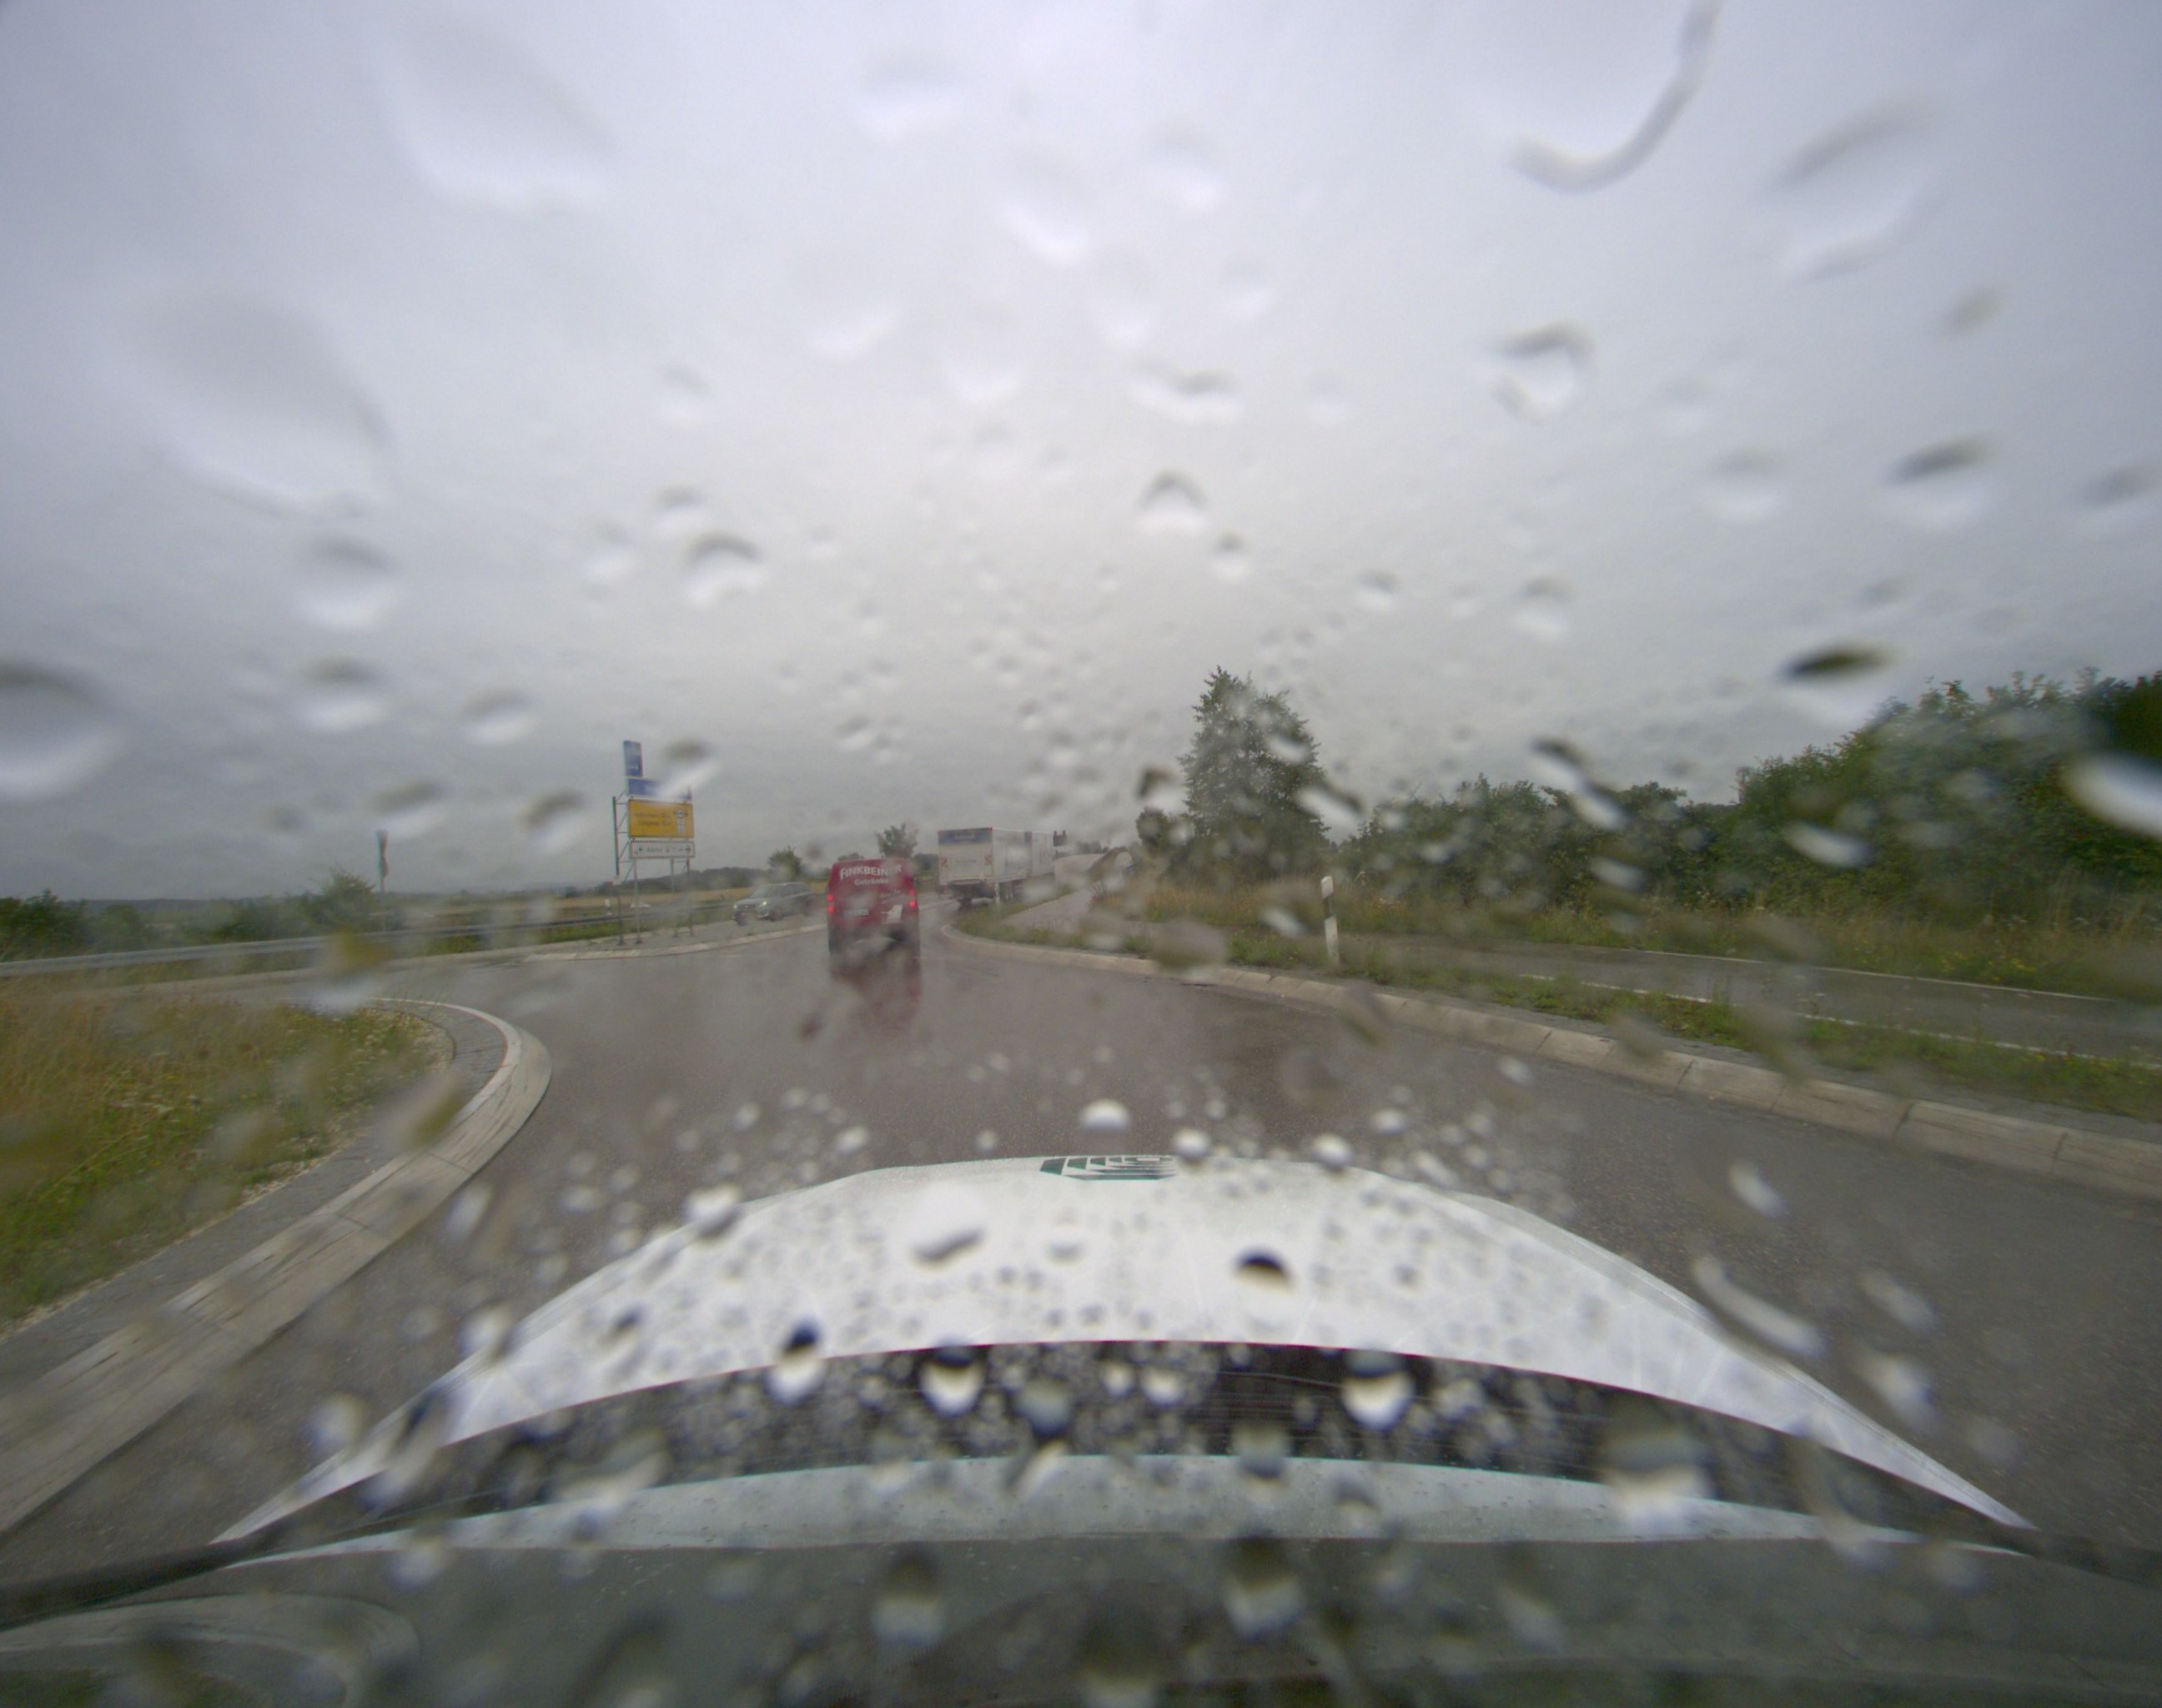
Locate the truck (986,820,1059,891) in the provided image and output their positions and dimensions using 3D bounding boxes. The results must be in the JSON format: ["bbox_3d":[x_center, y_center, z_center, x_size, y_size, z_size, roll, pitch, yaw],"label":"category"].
[{"bbox_3d":[-3.430,0.055,49.822,2.784,3.818,7.705,-3,0,7],"label":"truck"}]

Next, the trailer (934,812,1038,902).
[{"bbox_3d":[-4.486,0.104,41.152,2.817,3.818,9.733,-3,0,7],"label":"trailer"}]

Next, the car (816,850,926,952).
[{"bbox_3d":[-4.906,0.945,18.632,1.999,1.870,4.949,-4,0,-17],"label":"car"}]

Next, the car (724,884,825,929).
[{"bbox_3d":[-12.647,2.130,33.898,1.786,1.575,4.018,-3,-1,17],"label":"car"}]
